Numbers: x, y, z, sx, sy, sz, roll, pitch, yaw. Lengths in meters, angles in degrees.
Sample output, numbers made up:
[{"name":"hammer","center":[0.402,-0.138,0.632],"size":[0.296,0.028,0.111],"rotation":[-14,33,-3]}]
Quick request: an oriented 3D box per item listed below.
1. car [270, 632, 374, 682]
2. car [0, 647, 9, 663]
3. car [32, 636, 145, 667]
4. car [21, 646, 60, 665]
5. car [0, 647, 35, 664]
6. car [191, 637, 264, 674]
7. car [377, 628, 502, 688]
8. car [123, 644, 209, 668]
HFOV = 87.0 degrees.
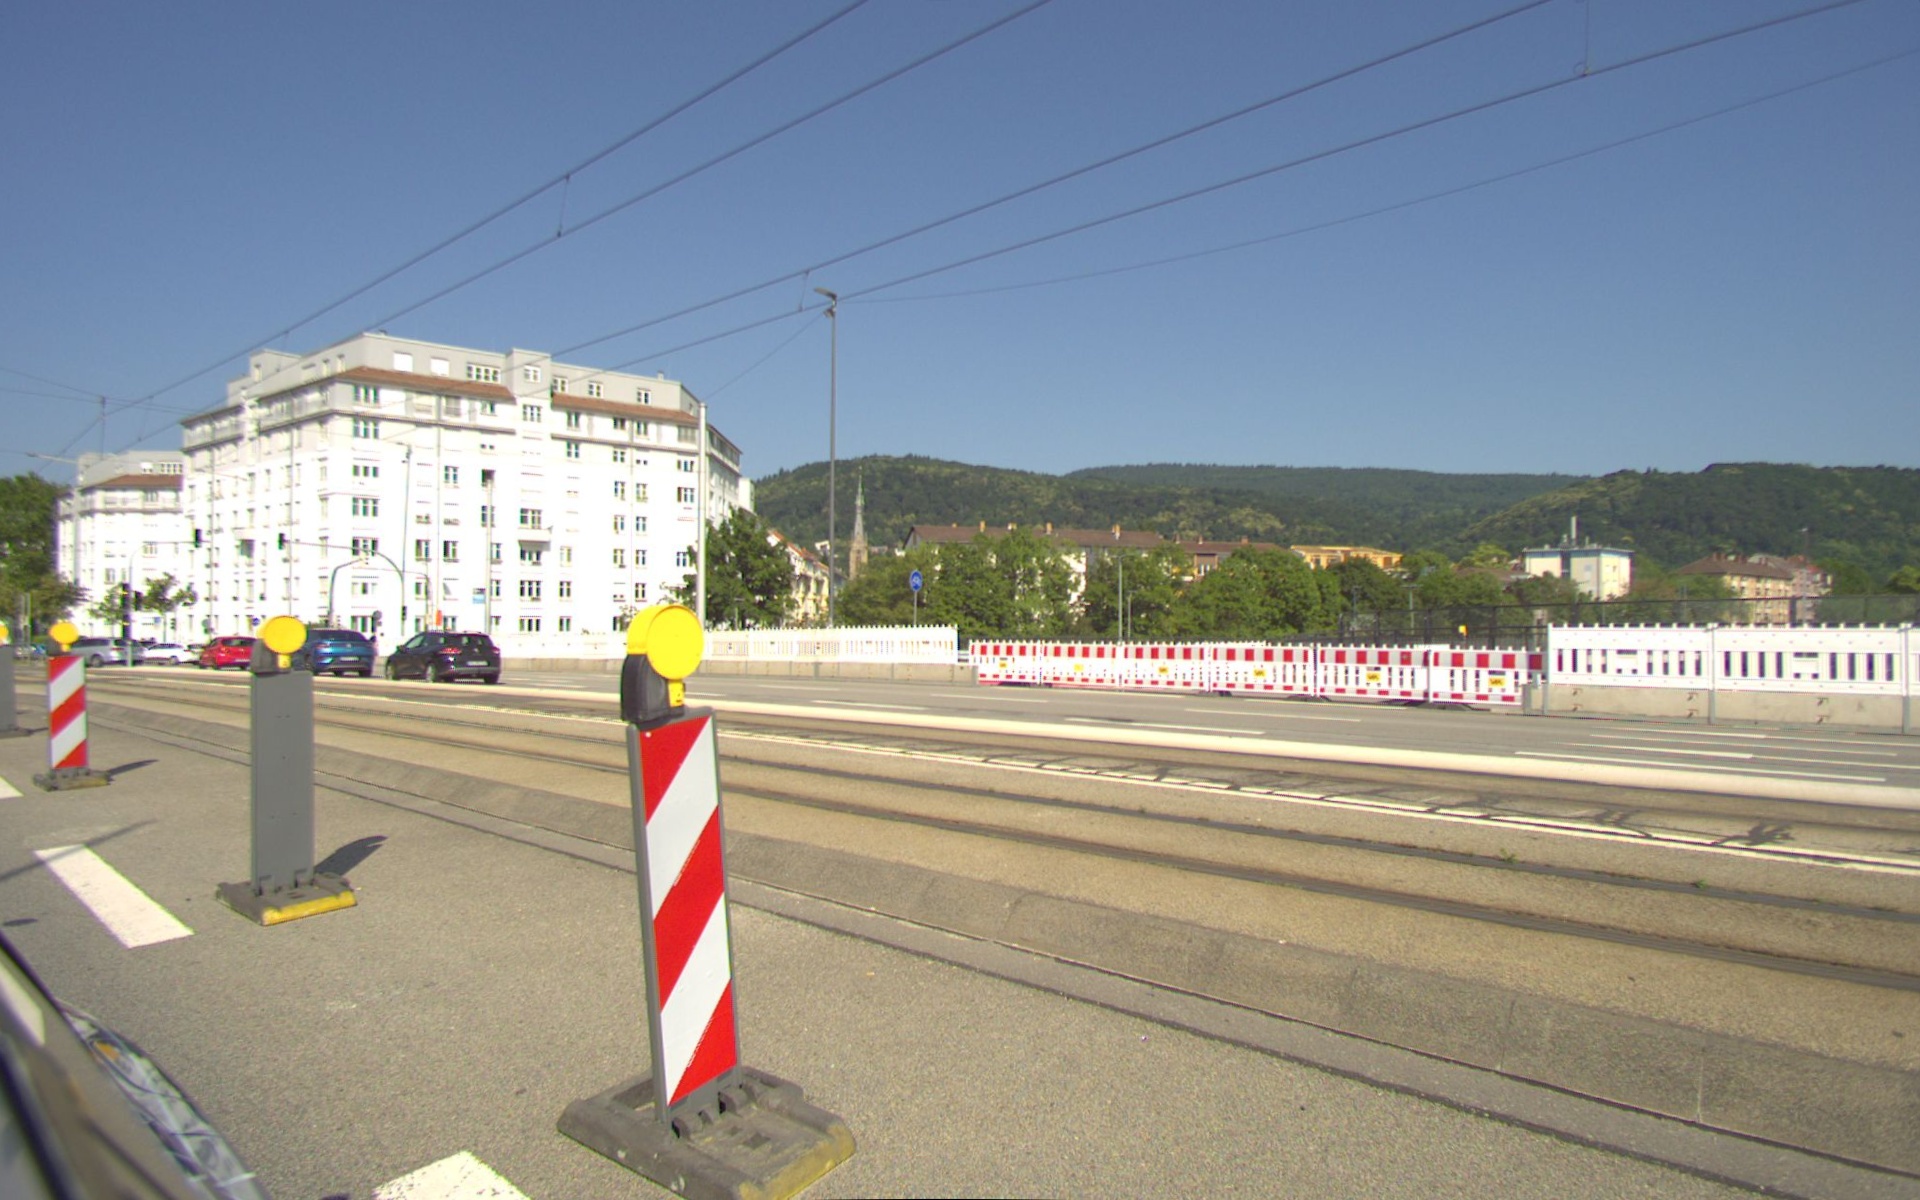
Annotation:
[{"name":"car","center":[-21.217,1.871,33.602],"size":[4.553,1.562,1.652],"rotation":[-2,-3,41]},{"name":"car","center":[-90.932,5.209,95.041],"size":[3.732,1.496,1.719],"rotation":[-2,-2,36]},{"name":"car","center":[-41.639,2.465,48.366],"size":[4.596,1.448,1.636],"rotation":[0,-3,13]},{"name":"car","center":[-78.373,4.712,86.221],"size":[3.732,1.496,1.719],"rotation":[-2,-2,36]},{"name":"car","center":[-84.821,4.986,90.997],"size":[3.732,1.496,1.719],"rotation":[-2,-2,36]},{"name":"car","center":[-31.103,2.368,42.928],"size":[3.977,1.448,1.518],"rotation":[-2,-7,41]},{"name":"car","center":[-14.102,1.545,27.323],"size":[4.174,1.512,1.490],"rotation":[-2,-4,40]},{"name":"car","center":[-49.630,3.497,63.297],"size":[4.435,1.423,1.697],"rotation":[0,-2,10]}]
